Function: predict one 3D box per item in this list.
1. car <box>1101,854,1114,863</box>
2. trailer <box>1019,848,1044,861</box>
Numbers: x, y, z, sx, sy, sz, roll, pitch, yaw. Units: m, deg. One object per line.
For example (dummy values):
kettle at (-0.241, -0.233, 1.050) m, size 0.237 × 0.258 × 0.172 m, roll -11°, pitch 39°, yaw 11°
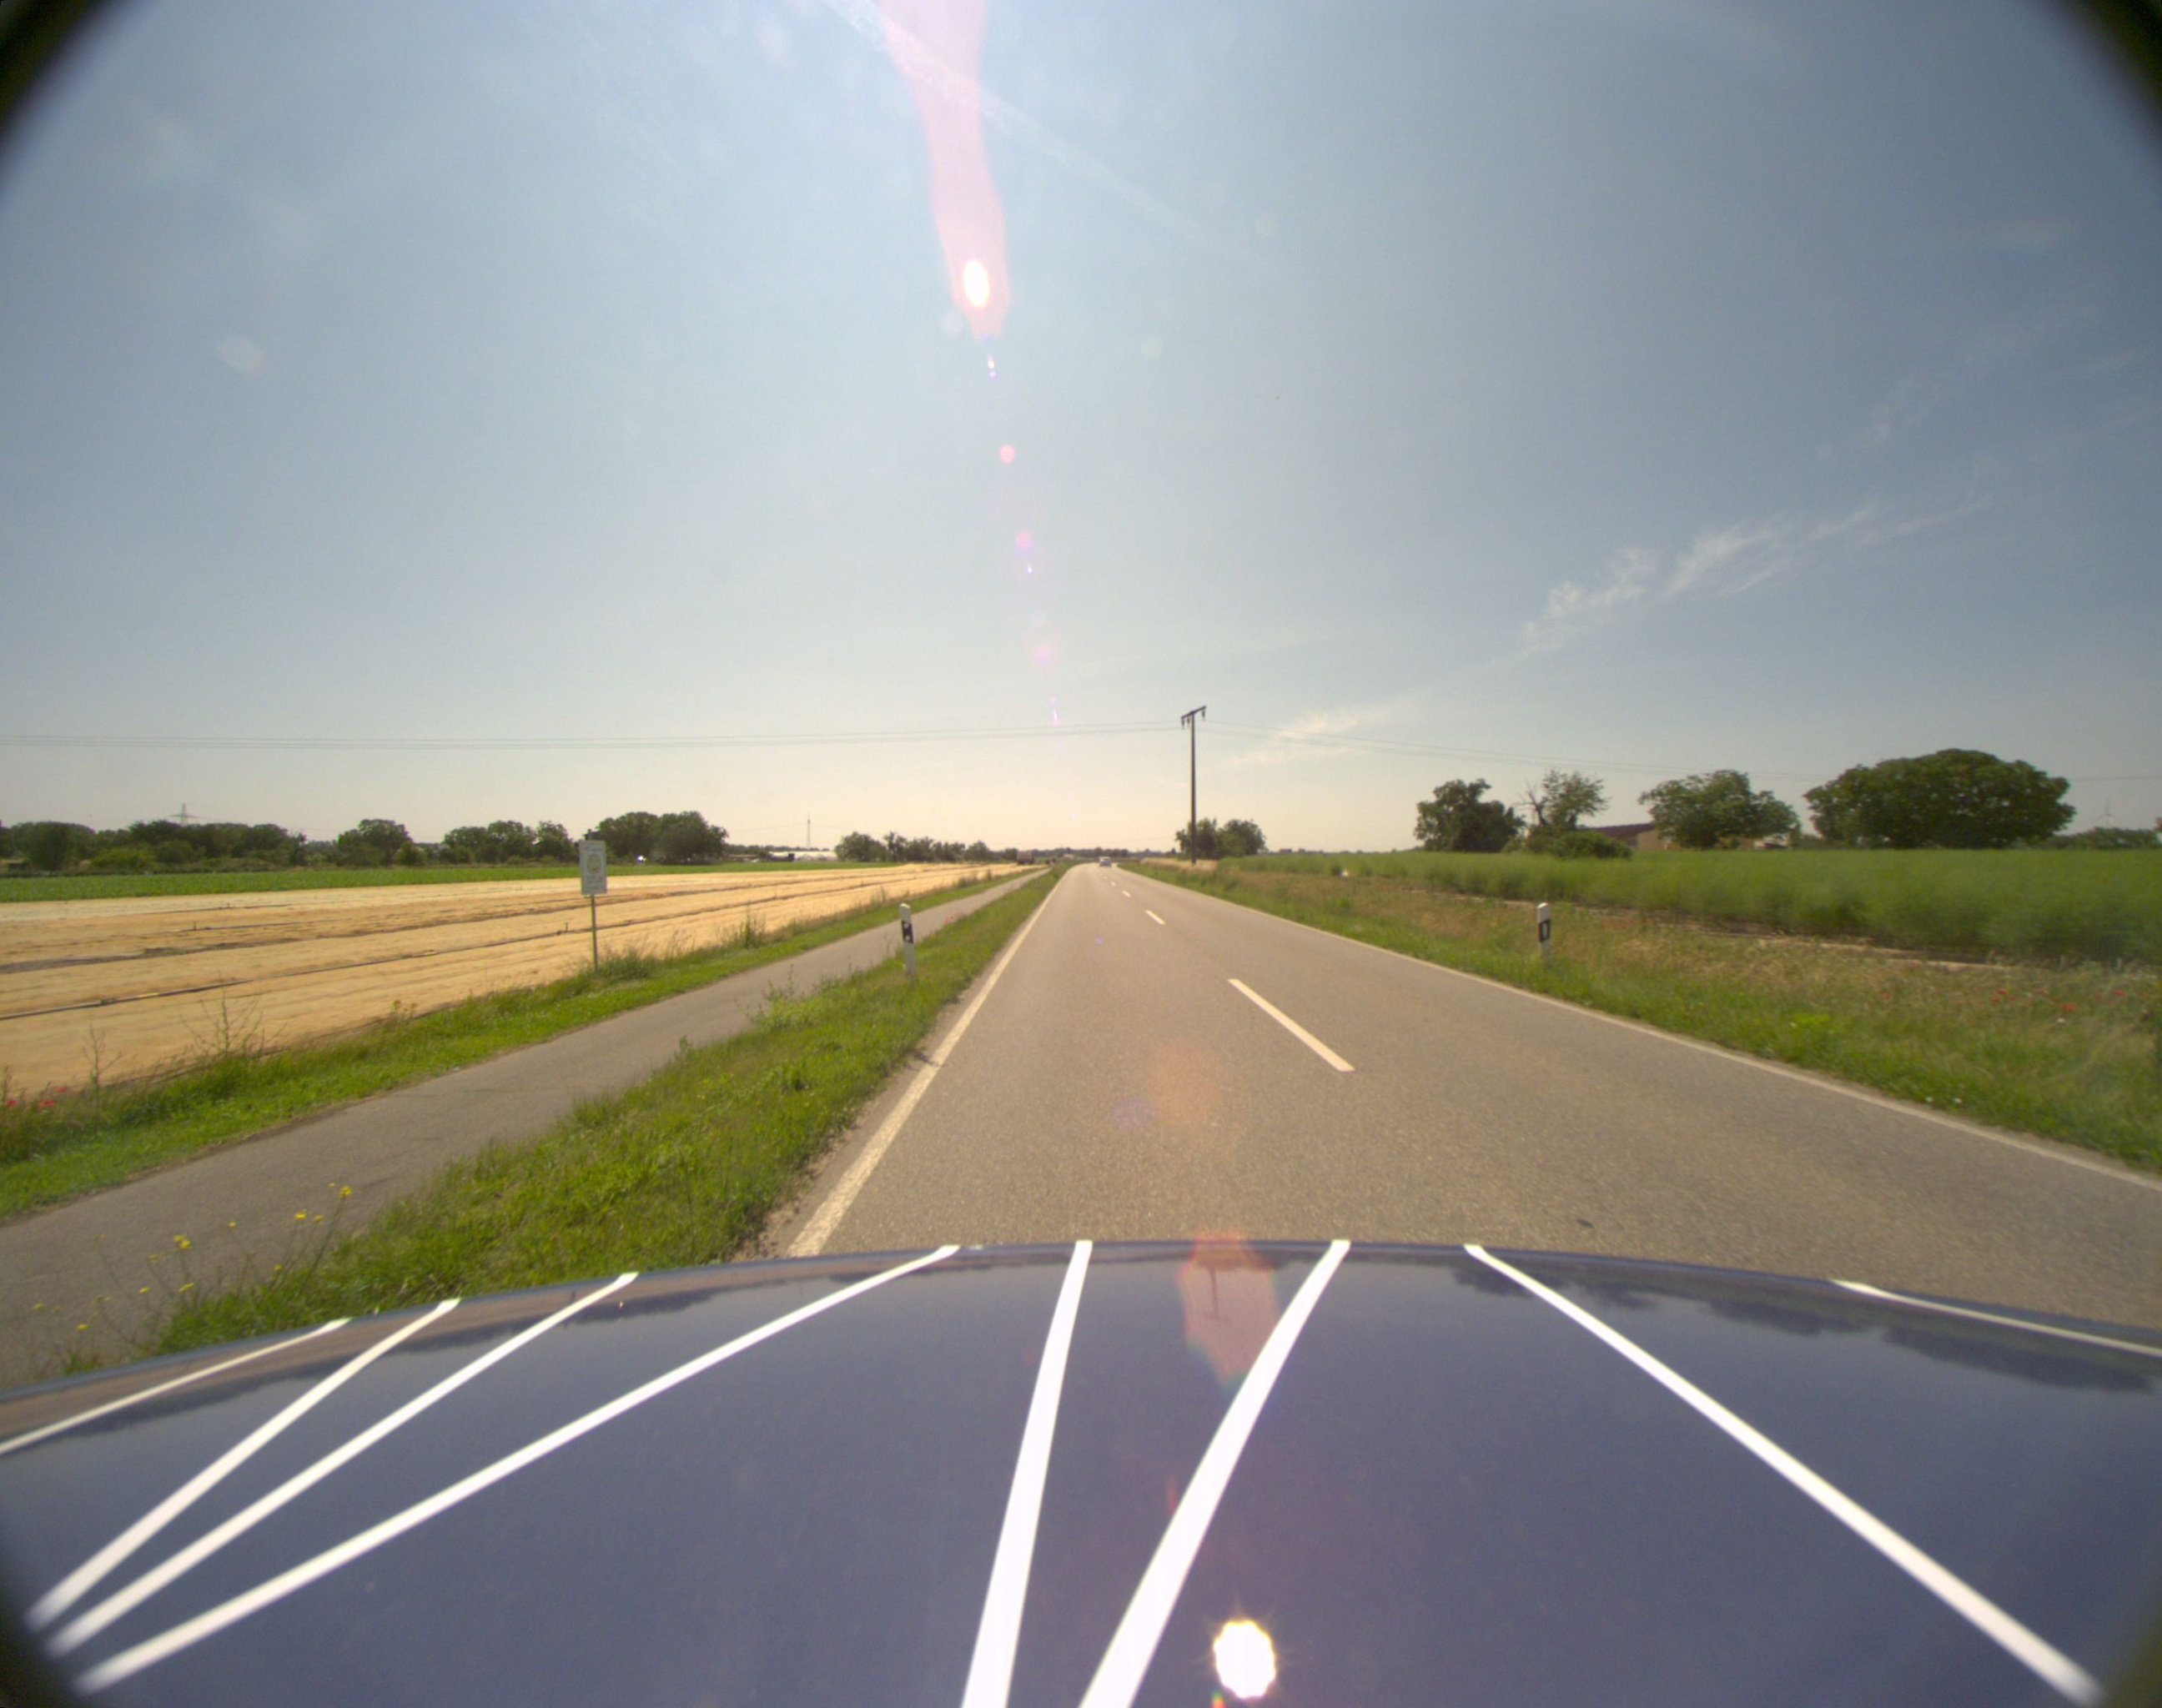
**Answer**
car at (4.029, 0.661, 114.851) m, size 1.796 × 1.401 × 4.185 m, roll 1°, pitch 0°, yaw 0°
trailer at (-11.028, 0.097, 170.277) m, size 5.283 × 2.936 × 2.002 m, roll 1°, pitch 2°, yaw 20°
